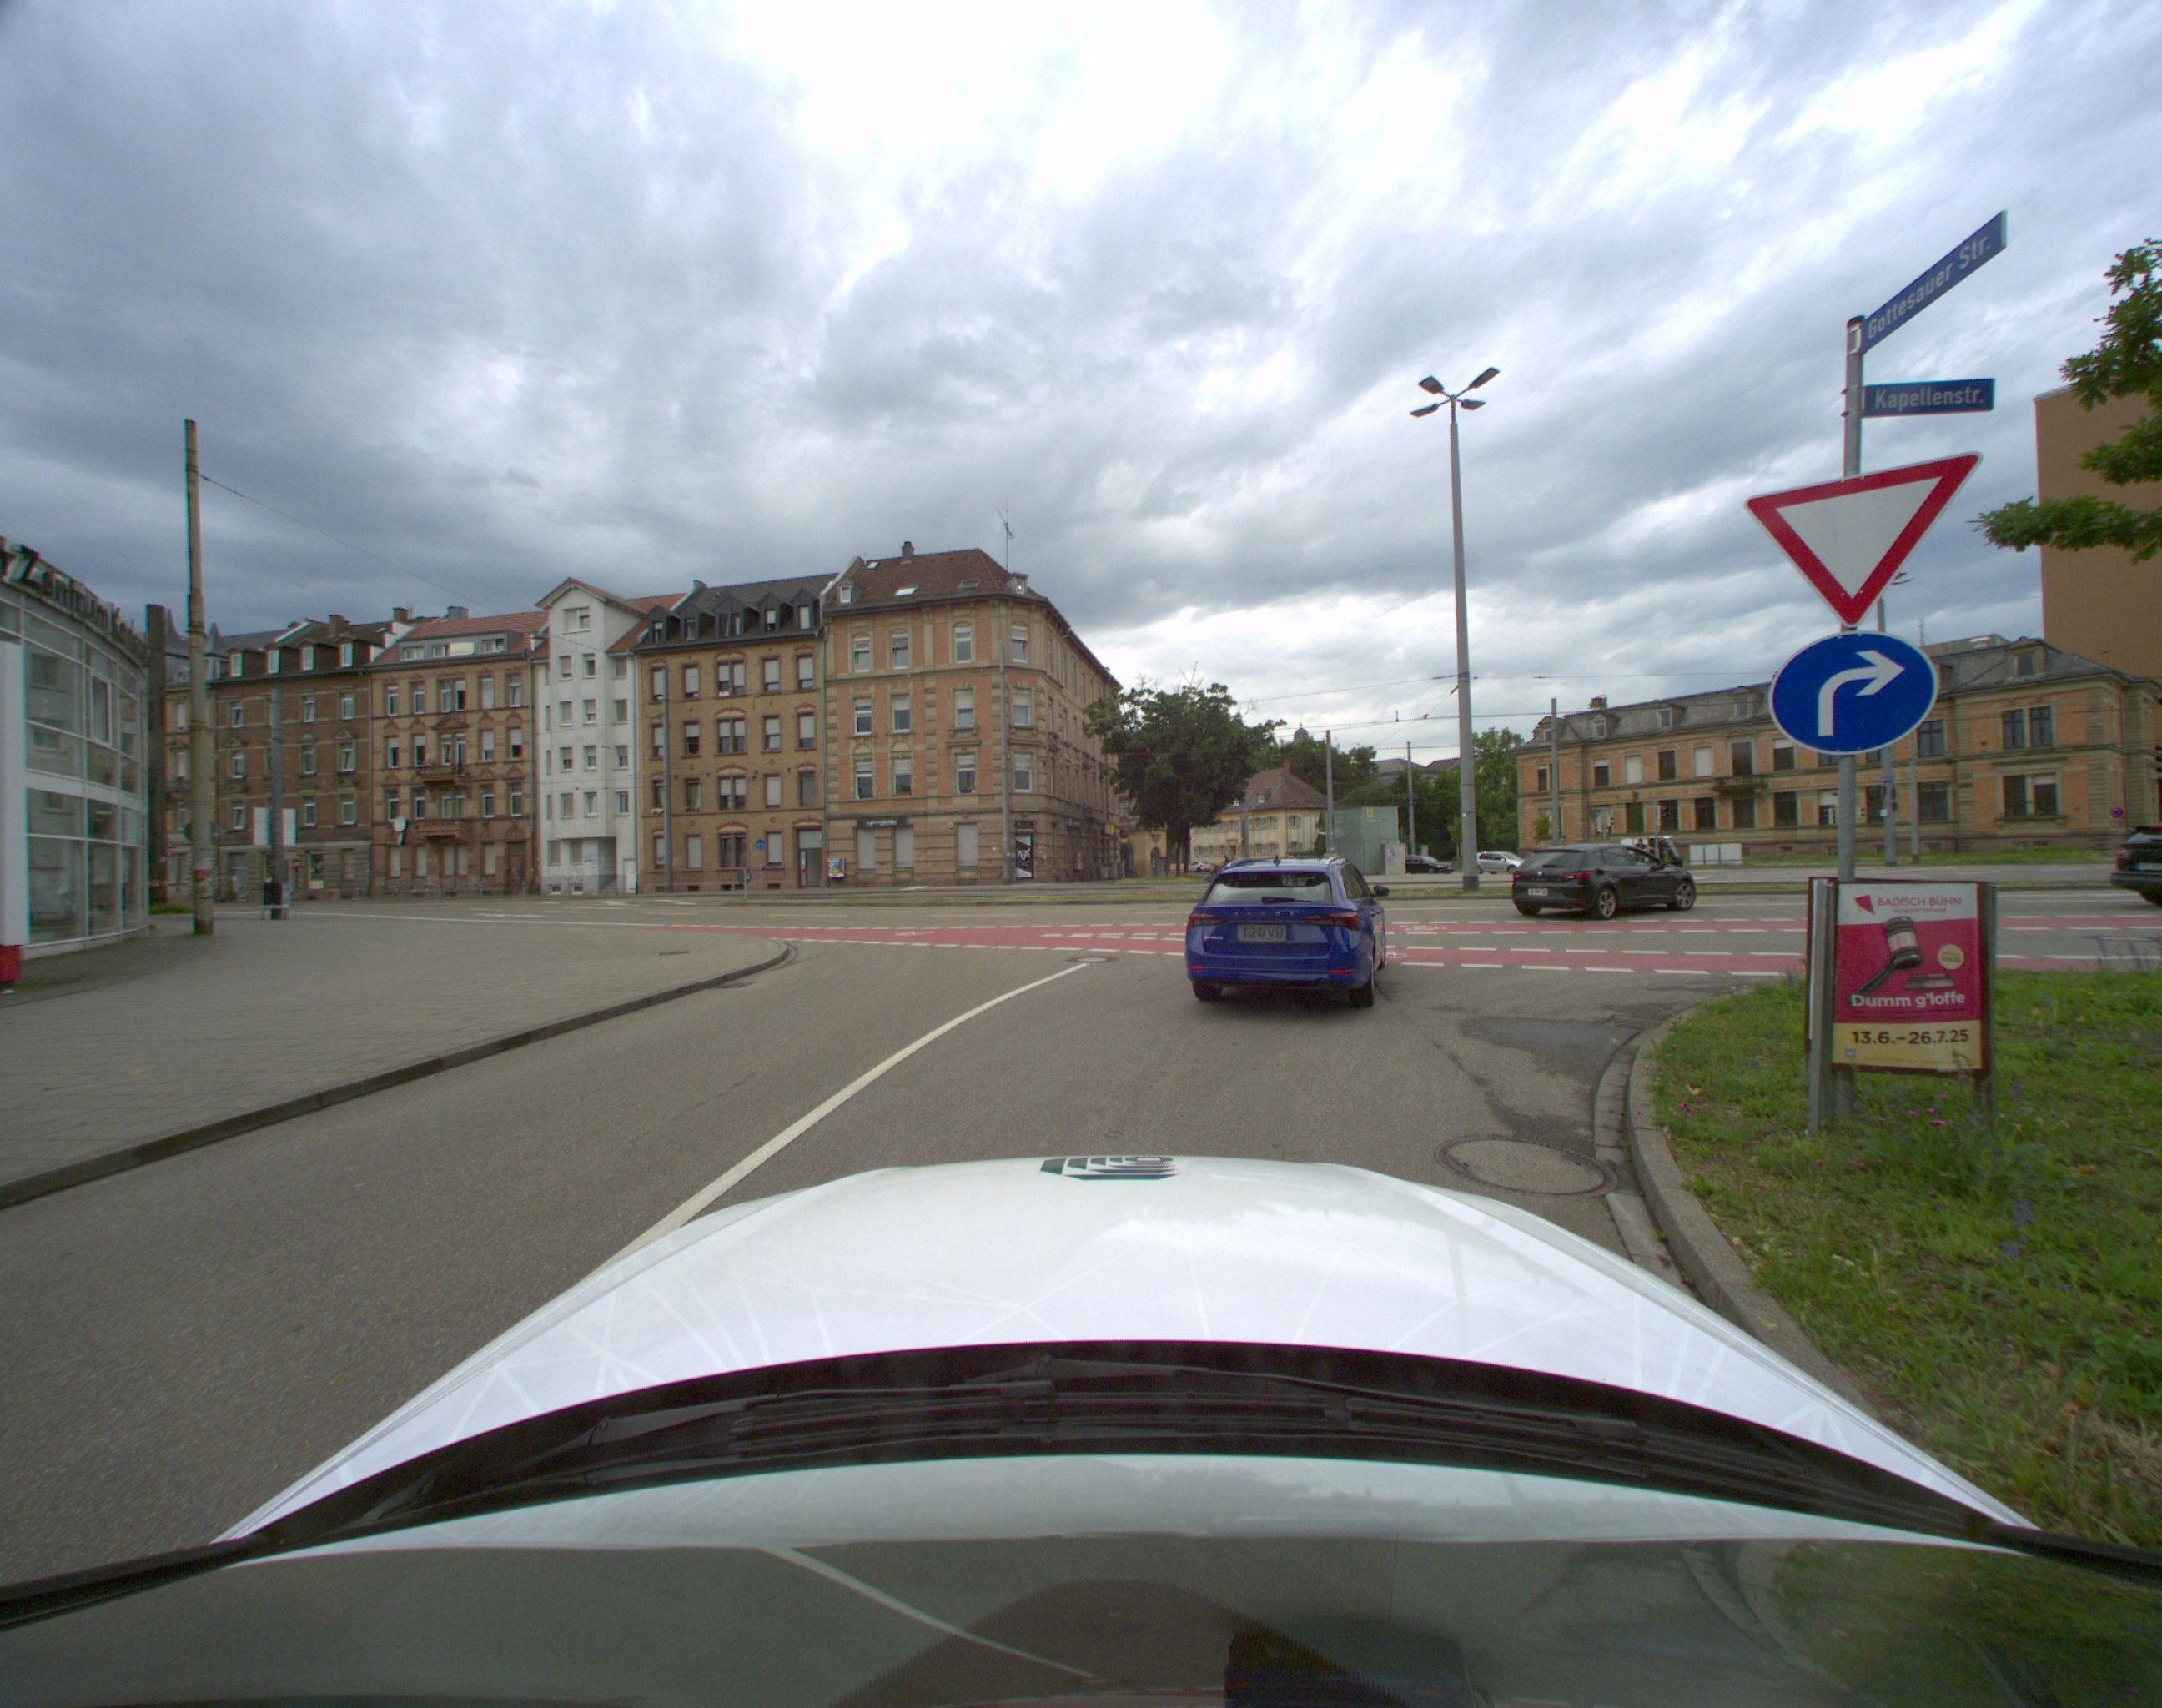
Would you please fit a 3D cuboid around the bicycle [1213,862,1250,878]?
[{"bbox_3d":[9.517,1.016,51.575,2.194,0.987,0.588,-2,-1,23],"label":"bicycle"}]

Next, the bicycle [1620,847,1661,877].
[{"bbox_3d":[24.709,0.369,36.002,0.807,1.243,2.008,-3,-2,16],"label":"bicycle"}]

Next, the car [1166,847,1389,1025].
[{"bbox_3d":[2.462,0.707,9.227,1.764,1.488,4.489,-2,-1,22],"label":"car"}]

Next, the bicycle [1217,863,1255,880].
[{"bbox_3d":[9.556,1.054,50.342,2.194,0.987,0.588,-2,-1,23],"label":"bicycle"}]

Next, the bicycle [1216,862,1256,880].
[{"bbox_3d":[9.040,0.987,47.453,2.194,0.987,0.503,-2,-1,23],"label":"bicycle"}]

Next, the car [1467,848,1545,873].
[{"bbox_3d":[27.023,0.436,51.943,1.765,1.454,4.125,-2,-1,-26],"label":"car"}]

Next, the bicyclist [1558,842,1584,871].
[{"bbox_3d":[27.776,0.155,46.172,0.857,1.623,0.909,-1,-1,-26],"label":"bicyclist"}]

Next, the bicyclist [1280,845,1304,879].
[{"bbox_3d":[9.517,0.366,36.713,0.933,1.494,0.665,-2,-1,10],"label":"bicyclist"}]

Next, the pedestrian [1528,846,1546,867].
[{"bbox_3d":[39.543,0.211,70.623,0.762,1.763,1.114,-1,-1,-39],"label":"pedestrian"}]

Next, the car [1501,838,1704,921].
[{"bbox_3d":[10.517,0.459,16.405,3.820,1.449,1.695,-2,0,-27],"label":"car"}]

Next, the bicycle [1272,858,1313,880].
[{"bbox_3d":[9.514,0.685,36.692,1.704,0.915,0.609,-2,0,9],"label":"bicycle"}]

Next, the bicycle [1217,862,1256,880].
[{"bbox_3d":[9.285,1.029,48.708,2.194,0.987,0.614,-2,-1,23],"label":"bicycle"}]

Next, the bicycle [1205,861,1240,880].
[{"bbox_3d":[7.923,0.922,45.628,1.847,0.987,0.502,-2,-1,21],"label":"bicycle"}]

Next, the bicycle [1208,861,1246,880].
[{"bbox_3d":[8.284,0.929,46.304,2.013,0.987,0.524,-2,-1,23],"label":"bicycle"}]

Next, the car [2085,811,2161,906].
[{"bbox_3d":[20.563,0.005,13.670,4.461,1.597,1.790,-2,0,15],"label":"car"}]

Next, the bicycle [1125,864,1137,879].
[{"bbox_3d":[3.185,1.113,51.796,0.658,0.914,1.990,-2,0,2],"label":"bicycle"}]

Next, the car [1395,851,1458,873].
[{"bbox_3d":[24.351,0.578,57.526,1.698,1.449,4.113,-2,0,-22],"label":"car"}]

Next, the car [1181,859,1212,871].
[{"bbox_3d":[14.741,1.468,104.419,1.702,1.449,4.147,-2,0,-30],"label":"car"}]

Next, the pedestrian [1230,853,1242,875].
[{"bbox_3d":[12.844,0.817,67.501,0.838,1.722,0.956,-2,0,16],"label":"pedestrian"}]

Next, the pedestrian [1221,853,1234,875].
[{"bbox_3d":[11.664,0.804,64.926,0.838,1.722,0.956,-2,0,16],"label":"pedestrian"}]

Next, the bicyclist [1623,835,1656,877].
[{"bbox_3d":[24.707,0.086,36.043,0.807,1.798,1.034,-3,-1,16],"label":"bicyclist"}]

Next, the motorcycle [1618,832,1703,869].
[{"bbox_3d":[33.691,-0.176,47.425,1.700,2.014,3.654,-1,-1,-28],"label":"motorcycle"}]

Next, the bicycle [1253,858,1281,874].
[{"bbox_3d":[13.777,0.906,60.470,0.741,1.115,2.344,-2,0,-24],"label":"bicycle"}]
